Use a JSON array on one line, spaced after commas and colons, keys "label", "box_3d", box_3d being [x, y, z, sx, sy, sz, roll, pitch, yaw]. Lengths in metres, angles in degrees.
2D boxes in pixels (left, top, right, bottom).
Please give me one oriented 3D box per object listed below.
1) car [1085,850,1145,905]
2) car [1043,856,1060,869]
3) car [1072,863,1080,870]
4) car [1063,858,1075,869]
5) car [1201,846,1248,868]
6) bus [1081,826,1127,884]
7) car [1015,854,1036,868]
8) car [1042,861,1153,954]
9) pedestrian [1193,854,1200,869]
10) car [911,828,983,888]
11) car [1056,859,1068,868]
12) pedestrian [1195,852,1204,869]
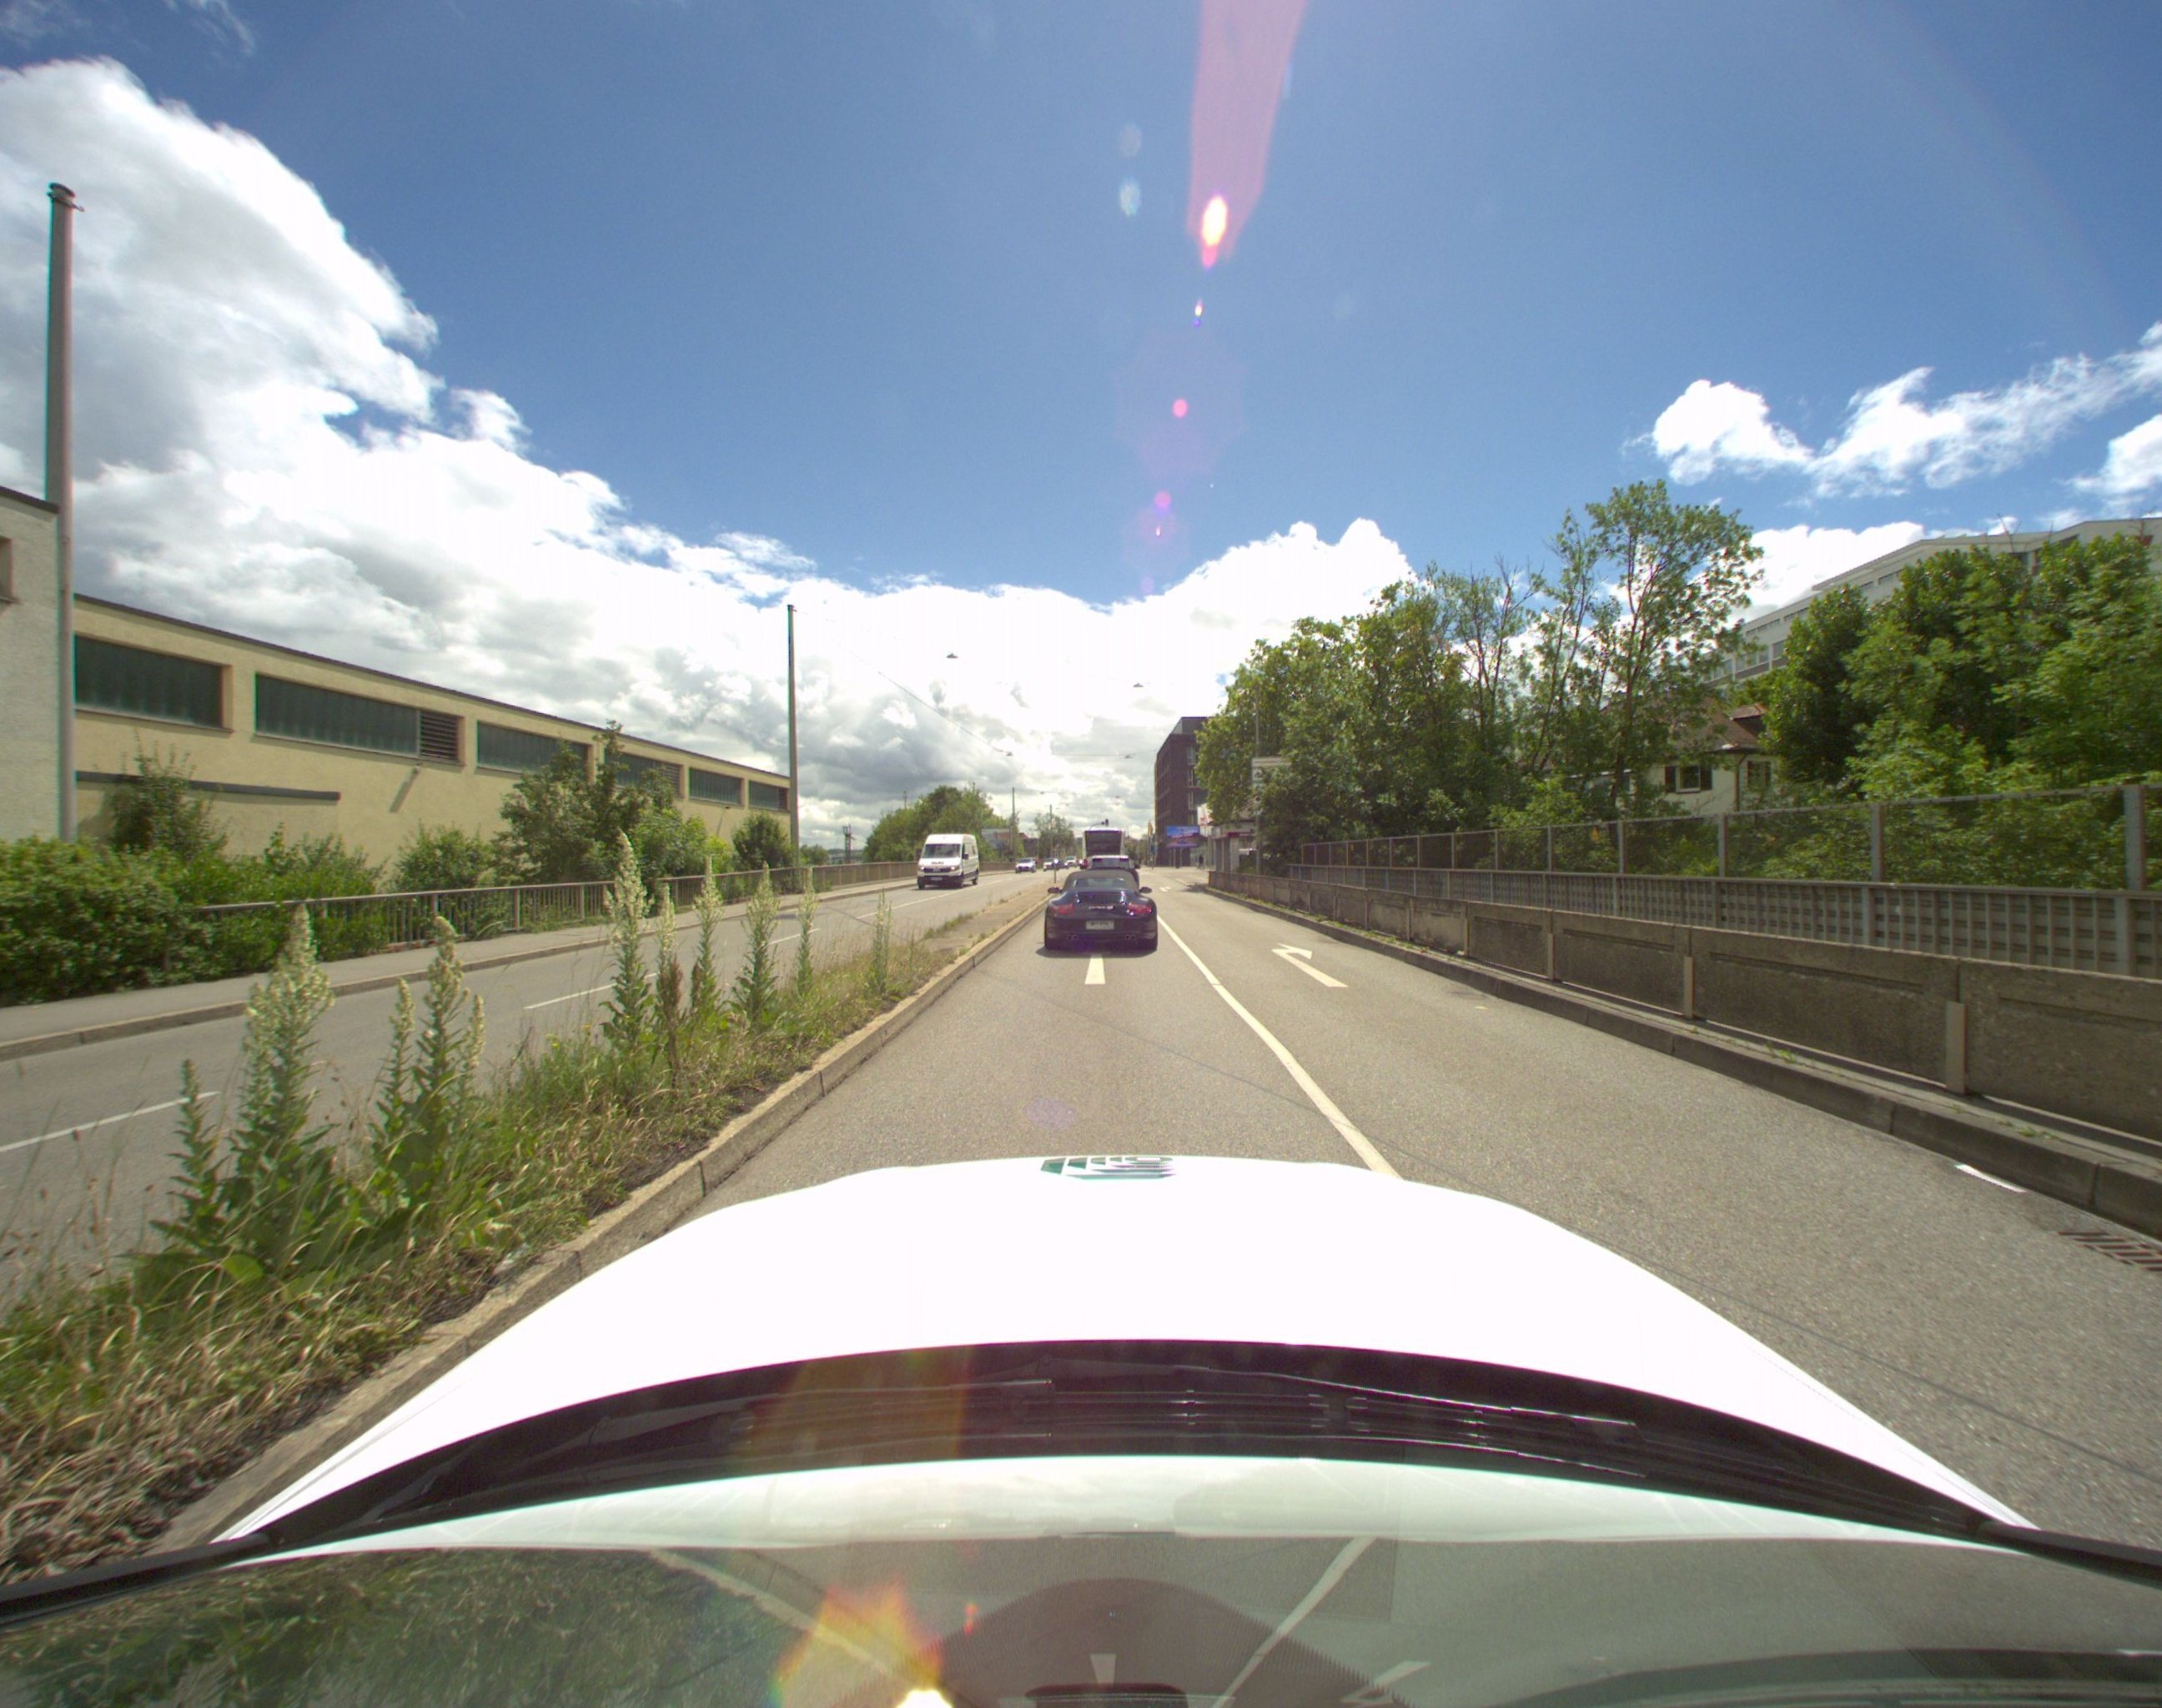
[{"label": "car", "box_3d": [1.141, 0.736, 27.848, 1.873, 1.594, 4.231, 1, 2, 1]}, {"label": "car", "box_3d": [-3.474, 1.038, 97.834, 1.804, 1.560, 4.208, 0, 0, 1]}, {"label": "car", "box_3d": [-1.062, 2.597, 174.990, 1.656, 1.416, 3.805, -1, -1, 2]}, {"label": "car", "box_3d": [-2.057, 1.634, 141.548, 1.894, 1.887, 5.315, -3, -1, 2]}, {"label": "car", "box_3d": [13.792, 0.300, 78.421, 4.214, 1.936, 2.031, -3, -1, 2]}, {"label": "bus", "box_3d": [1.644, -0.166, 54.346, 2.678, 3.254, 12.069, 1, 3, 3]}, {"label": "car", "box_3d": [-5.387, 0.679, 79.499, 1.631, 1.363, 4.196, -1, 0, 2]}, {"label": "car", "box_3d": [0.306, 0.843, 14.618, 1.713, 1.275, 4.090, 0, 2, 1]}, {"label": "pedestrian", "box_3d": [13.512, 0.844, 95.116, 0.705, 1.696, 0.924, 0, -1, -1]}, {"label": "car", "box_3d": [-6.356, 0.177, 39.540, 2.059, 2.571, 6.824, -2, 0, 2]}, {"label": "car", "box_3d": [-2.819, 1.412, 122.866, 1.622, 1.430, 4.001, 0, -1, 2]}, {"label": "pedestrian", "box_3d": [11.670, 0.638, 80.163, 0.673, 1.696, 0.602, -1, -1, 27]}]
